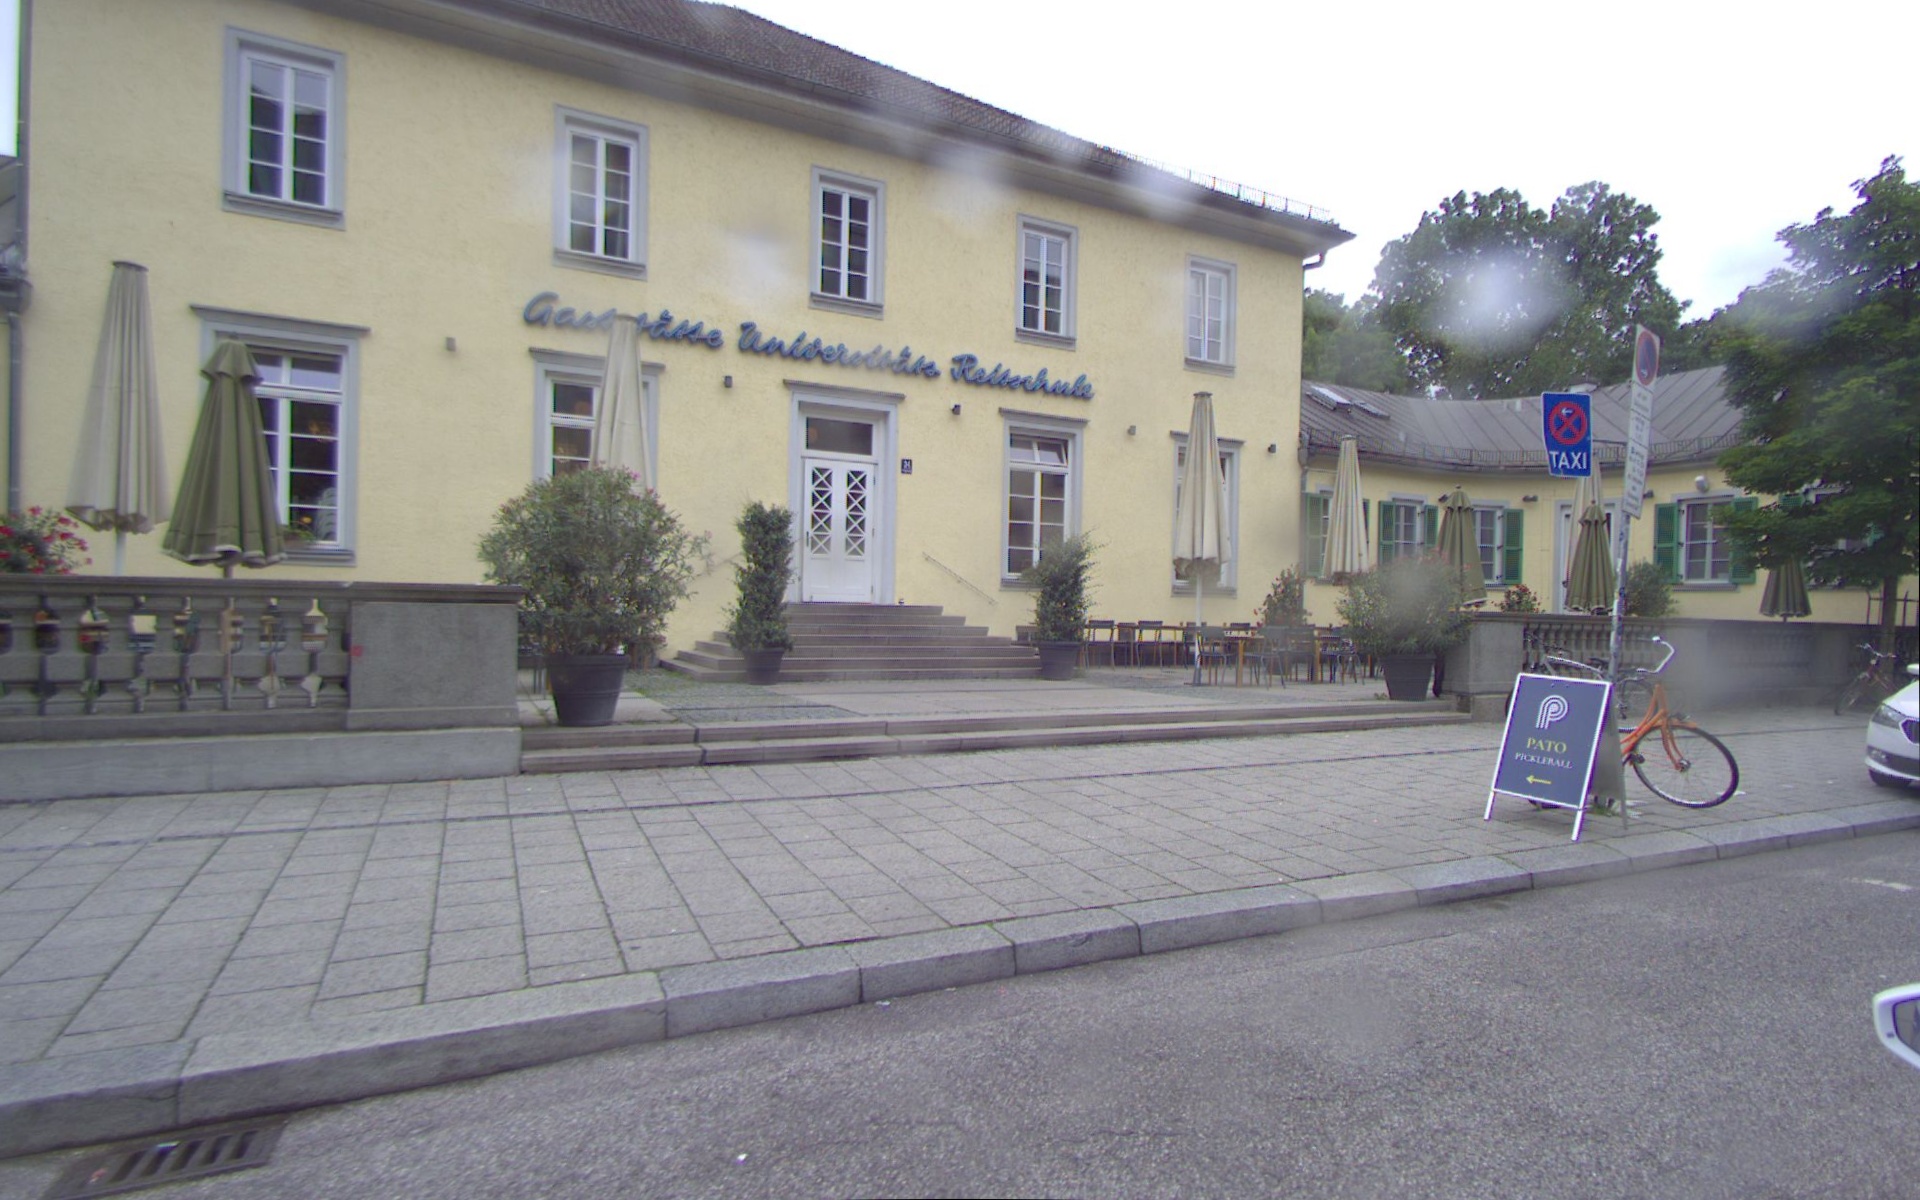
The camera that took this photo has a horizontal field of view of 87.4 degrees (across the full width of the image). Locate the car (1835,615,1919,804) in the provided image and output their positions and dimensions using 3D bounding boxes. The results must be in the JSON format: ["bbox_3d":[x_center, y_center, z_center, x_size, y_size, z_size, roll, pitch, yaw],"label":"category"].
[{"bbox_3d":[9.902,0.953,8.874,4.403,1.512,1.718,1,1,-27],"label":"car"}]

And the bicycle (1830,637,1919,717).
[{"bbox_3d":[13.687,1.107,14.483,1.603,1.103,0.637,0,0,25],"label":"bicycle"}]

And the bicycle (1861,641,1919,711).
[{"bbox_3d":[15.283,1.209,15.679,0.634,1.042,1.722,0,1,-19],"label":"bicycle"}]

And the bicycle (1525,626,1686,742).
[{"bbox_3d":[7.646,0.969,11.970,1.539,1.279,0.570,0,0,25],"label":"bicycle"}]

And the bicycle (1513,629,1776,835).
[{"bbox_3d":[5.105,0.927,7.508,1.669,1.387,0.778,1,0,-19],"label":"bicycle"}]
